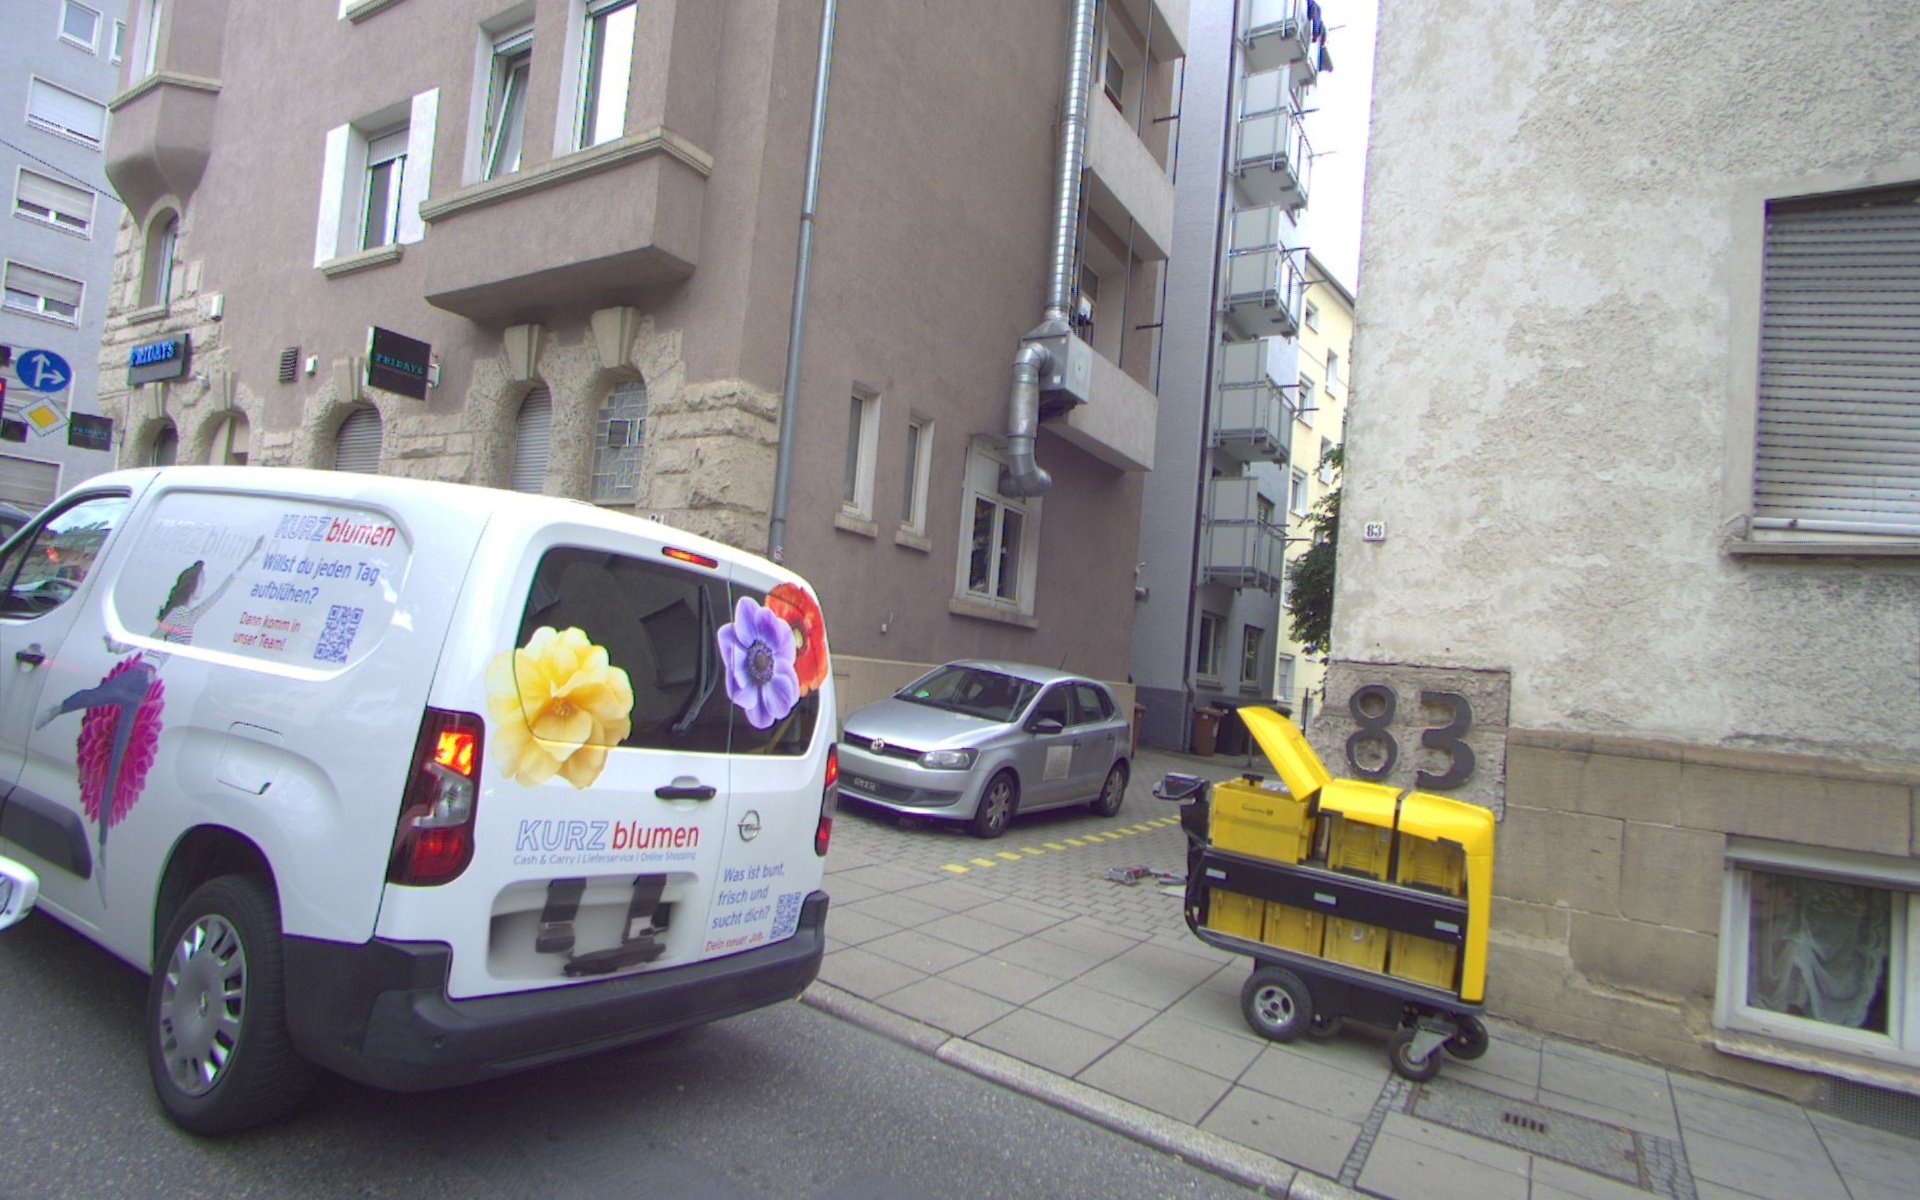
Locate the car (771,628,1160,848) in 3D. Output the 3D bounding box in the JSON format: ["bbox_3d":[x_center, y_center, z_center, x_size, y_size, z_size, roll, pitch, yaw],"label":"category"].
[{"bbox_3d":[0.284,1.280,9.784,1.770,1.419,3.995,9,-1,33],"label":"car"}]

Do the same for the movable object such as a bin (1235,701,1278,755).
[{"bbox_3d":[6.534,2.818,22.161,0.644,1.073,0.673,7,-1,31],"label":"movable object such as a bin"}]

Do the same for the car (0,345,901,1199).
[{"bbox_3d":[-2.824,0.381,4.188,4.945,1.845,1.852,4,-4,37],"label":"car"}]

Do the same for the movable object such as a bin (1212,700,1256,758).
[{"bbox_3d":[5.640,2.641,20.694,0.644,1.073,0.572,7,-1,31],"label":"movable object such as a bin"}]

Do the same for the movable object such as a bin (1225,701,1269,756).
[{"bbox_3d":[6.134,2.735,21.506,0.644,1.073,0.681,7,-1,31],"label":"movable object such as a bin"}]

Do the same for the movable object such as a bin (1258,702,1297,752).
[{"bbox_3d":[7.588,3.027,24.022,0.644,1.073,0.673,7,-1,31],"label":"movable object such as a bin"}]

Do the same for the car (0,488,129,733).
[{"bbox_3d":[-8.102,-0.143,7.428,3.570,1.609,1.759,6,-5,31],"label":"car"}]

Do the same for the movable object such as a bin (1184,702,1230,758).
[{"bbox_3d":[4.870,2.549,19.824,0.626,0.997,0.572,7,-1,31],"label":"movable object such as a bin"}]

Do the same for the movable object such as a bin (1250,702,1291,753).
[{"bbox_3d":[7.211,2.950,23.364,0.644,1.073,0.673,7,-1,31],"label":"movable object such as a bin"}]

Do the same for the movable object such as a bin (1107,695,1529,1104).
[{"bbox_3d":[1.682,1.278,4.787,1.665,1.437,0.720,6,-1,31],"label":"movable object such as a bin"}]

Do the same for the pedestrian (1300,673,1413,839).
[{"bbox_3d":[4.291,1.673,10.913,0.753,1.680,0.740,6,-3,-25],"label":"pedestrian"}]
